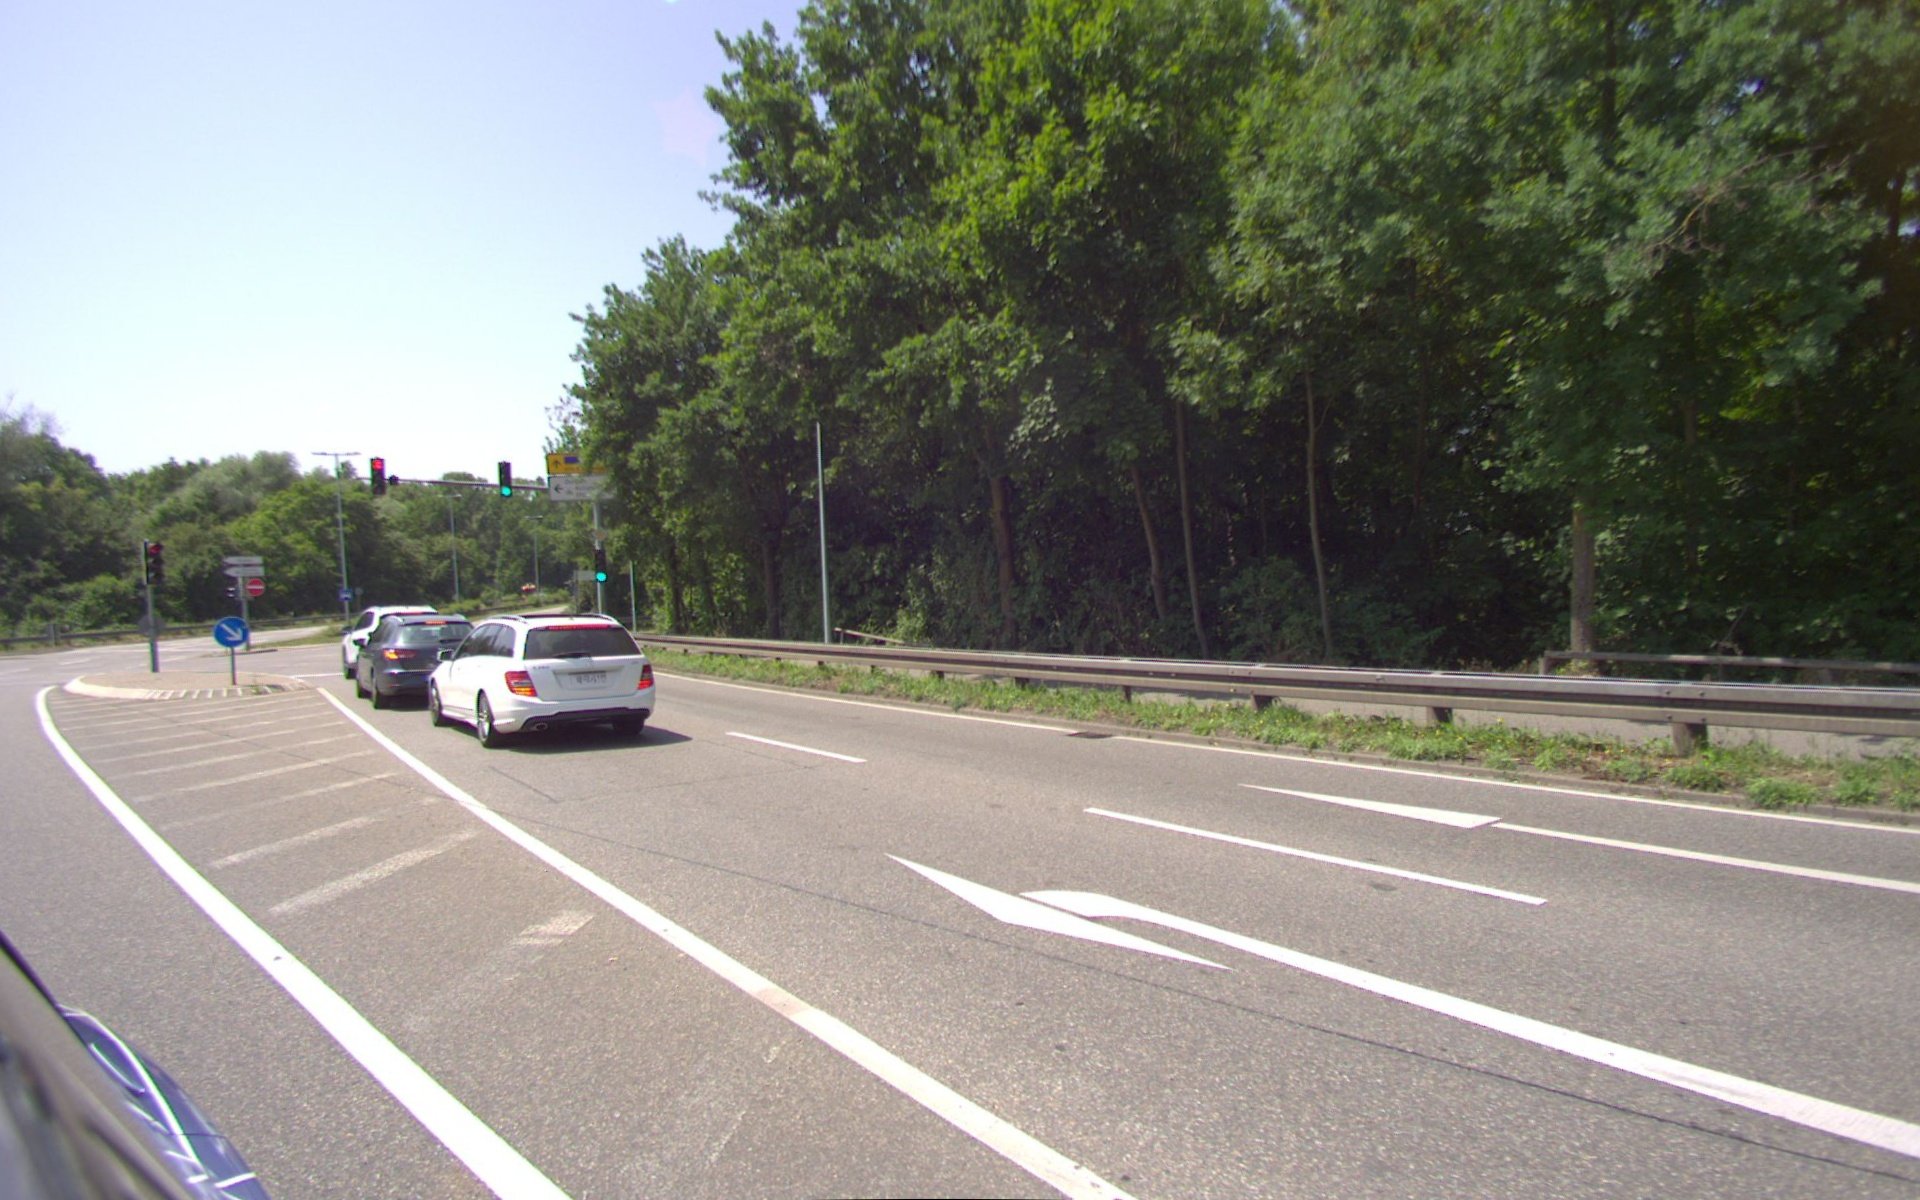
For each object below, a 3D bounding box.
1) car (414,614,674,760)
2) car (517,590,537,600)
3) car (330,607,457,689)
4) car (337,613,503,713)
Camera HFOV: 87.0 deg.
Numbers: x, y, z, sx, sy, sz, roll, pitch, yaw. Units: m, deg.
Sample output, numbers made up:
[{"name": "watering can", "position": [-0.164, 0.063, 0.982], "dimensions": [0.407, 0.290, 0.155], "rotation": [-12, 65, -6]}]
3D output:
[{"name": "car", "position": [-5.289, 0.901, 12.428], "dimensions": [1.804, 1.417, 4.899], "rotation": [0, -1, -37]}, {"name": "car", "position": [-65.352, -0.771, 152.839], "dimensions": [1.818, 1.441, 3.585], "rotation": [-2, 1, -9]}, {"name": "car", "position": [-13.024, 1.029, 23.138], "dimensions": [1.804, 1.651, 4.587], "rotation": [-1, 0, -38]}, {"name": "car", "position": [-9.242, 0.959, 17.130], "dimensions": [1.804, 1.417, 4.557], "rotation": [-1, 0, -37]}]
